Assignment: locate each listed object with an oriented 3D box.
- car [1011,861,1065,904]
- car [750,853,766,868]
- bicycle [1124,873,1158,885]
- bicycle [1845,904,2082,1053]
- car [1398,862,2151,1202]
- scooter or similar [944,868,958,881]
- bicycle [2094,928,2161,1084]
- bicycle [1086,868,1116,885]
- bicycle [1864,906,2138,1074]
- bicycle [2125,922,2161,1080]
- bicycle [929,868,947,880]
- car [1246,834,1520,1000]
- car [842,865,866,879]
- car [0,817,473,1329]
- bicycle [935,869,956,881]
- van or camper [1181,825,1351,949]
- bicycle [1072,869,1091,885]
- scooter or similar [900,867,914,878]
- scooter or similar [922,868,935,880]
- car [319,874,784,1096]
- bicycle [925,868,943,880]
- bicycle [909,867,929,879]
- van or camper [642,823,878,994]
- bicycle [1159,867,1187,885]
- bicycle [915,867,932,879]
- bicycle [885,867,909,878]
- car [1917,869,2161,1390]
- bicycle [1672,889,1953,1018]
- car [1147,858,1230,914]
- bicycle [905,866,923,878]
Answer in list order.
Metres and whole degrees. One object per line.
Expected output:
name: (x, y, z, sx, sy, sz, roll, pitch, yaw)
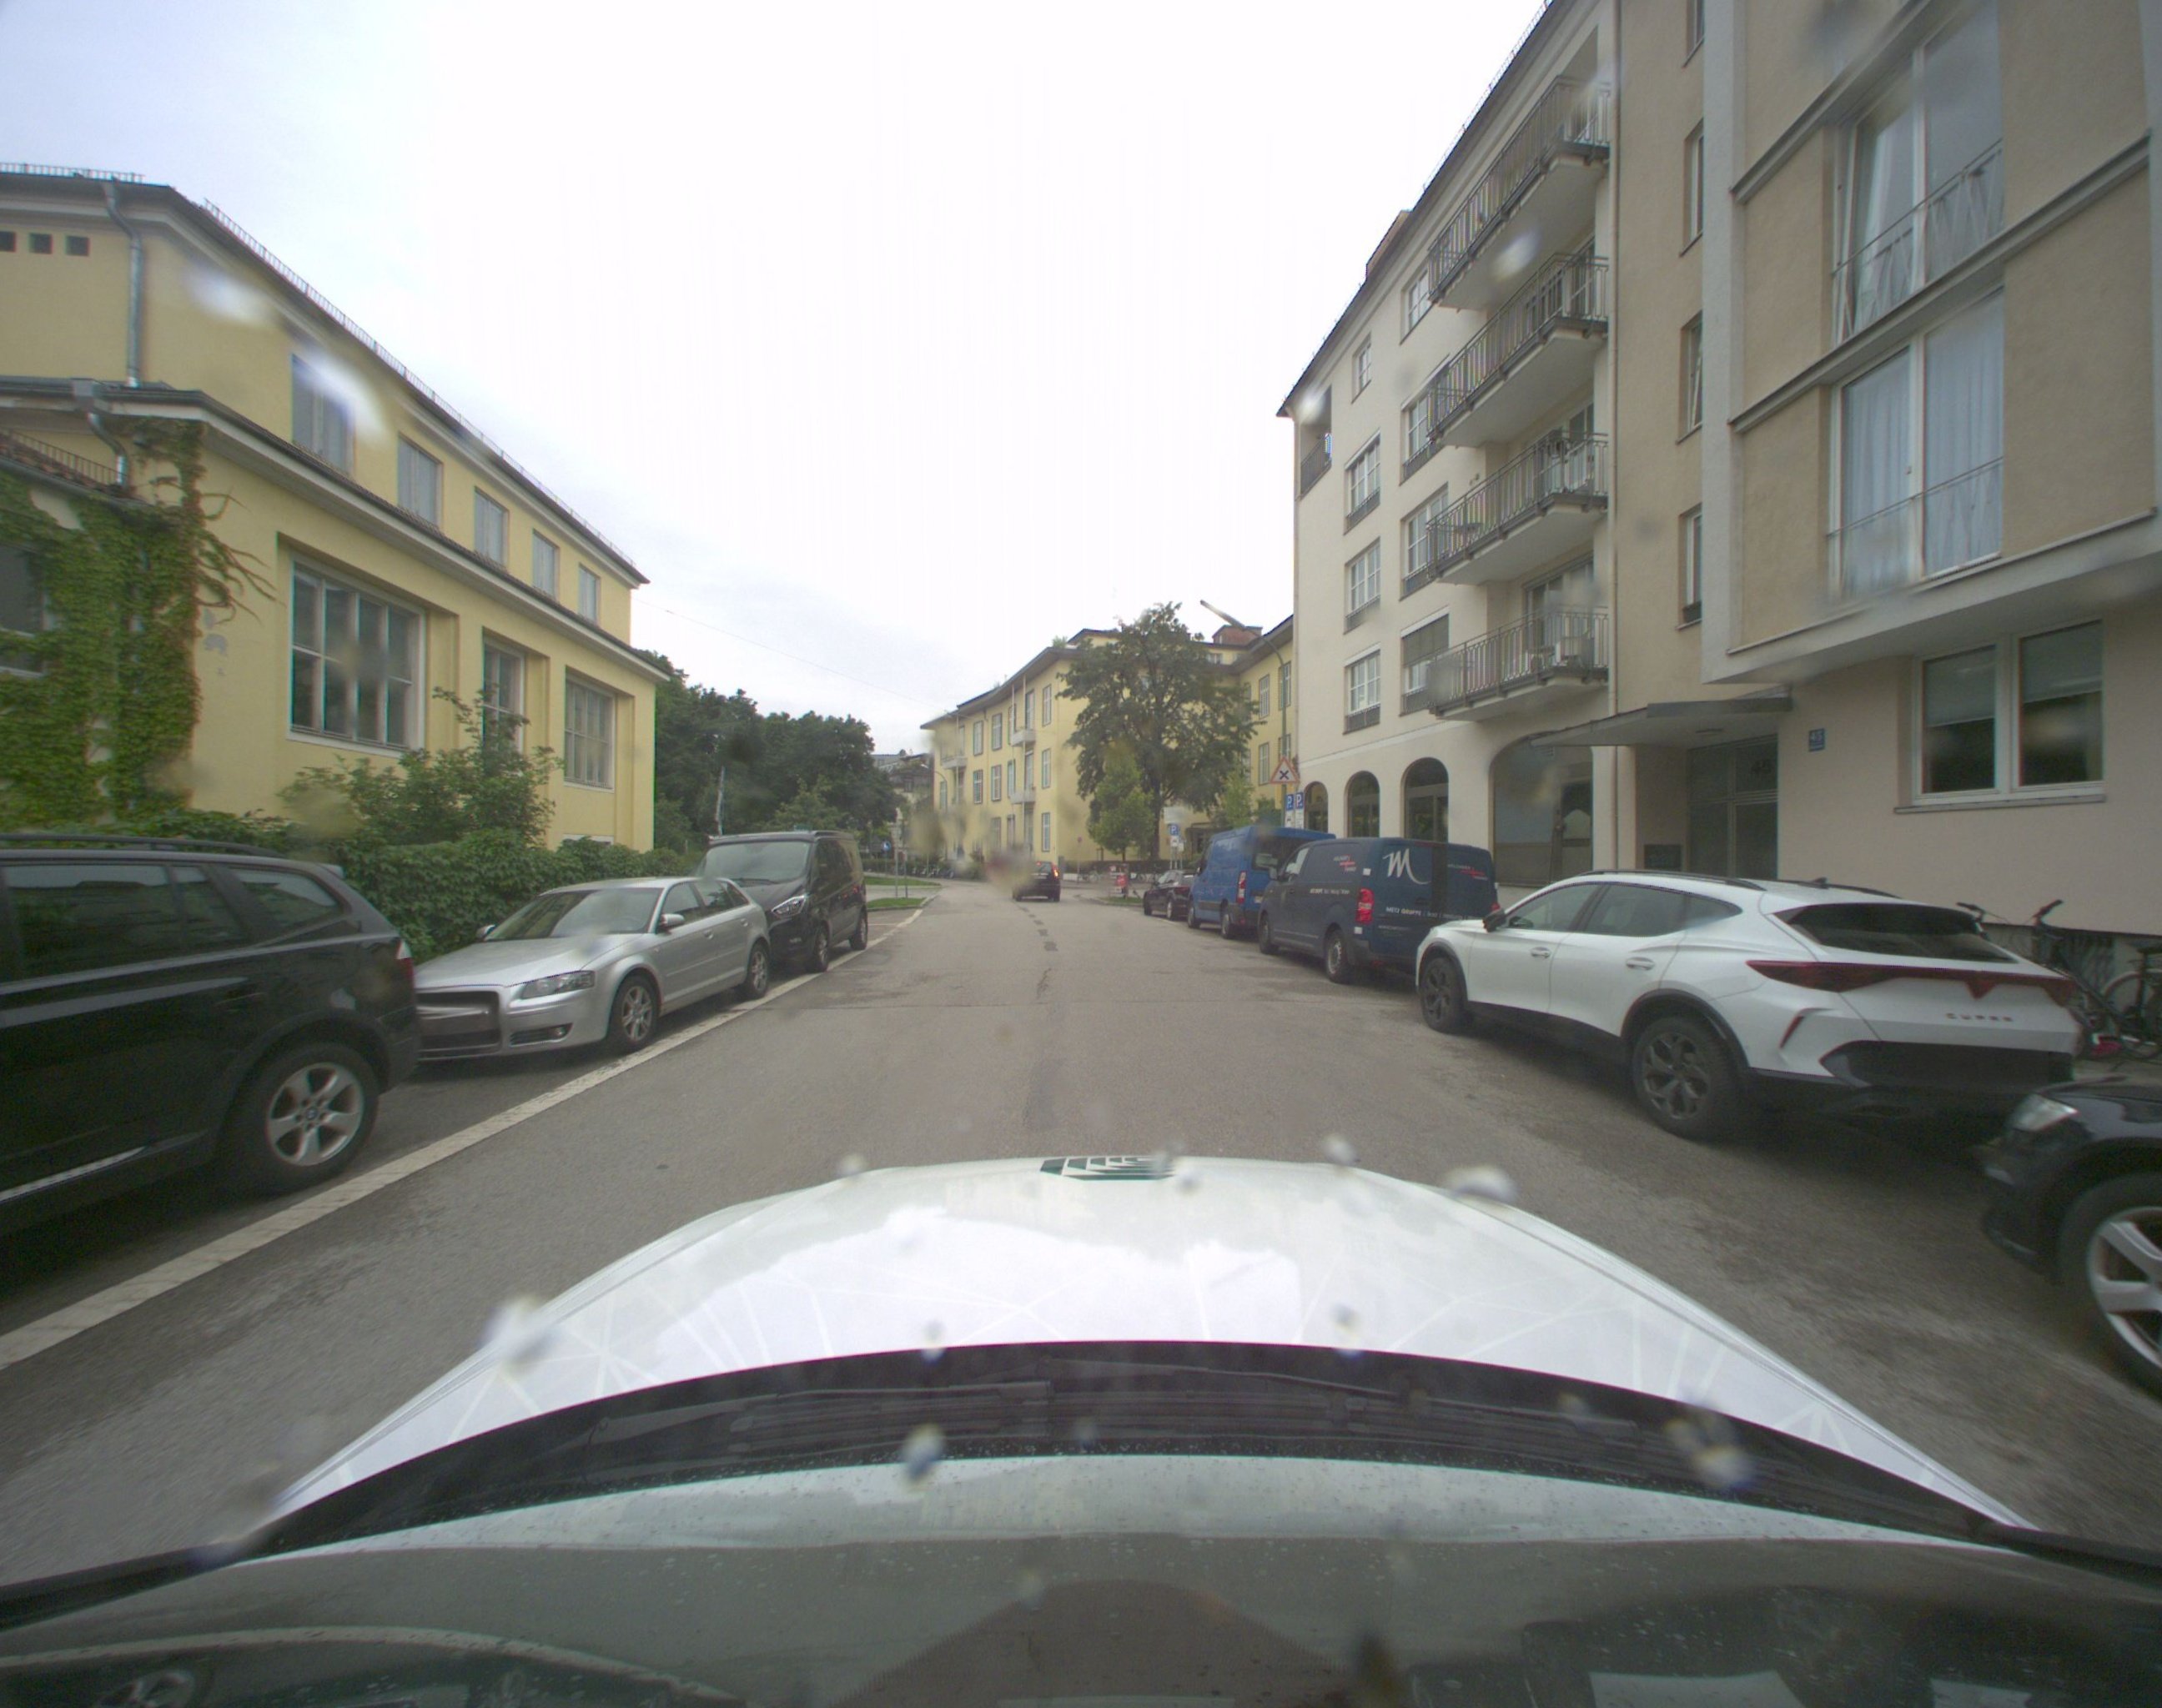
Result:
car: (-1.900, 1.165, 34.561, 1.993, 1.694, 4.369, 0, -1, -7)
car: (-56.636, 1.105, 142.815, 1.888, 2.568, 4.883, 1, -1, -31)
bicycle: (3.970, 1.653, 54.154, 2.194, 0.779, 0.612, 0, -1, 14)
bicycle: (7.975, 1.067, 7.413, 0.536, 1.133, 1.394, -1, 0, -34)
car: (4.222, 0.894, 6.061, 1.736, 1.537, 4.267, 4, -1, -4)
scooter or similar: (-11.339, 1.778, 71.086, 0.491, 1.109, 1.417, -1, 0, 22)
bicycle: (7.545, 1.050, 5.331, 0.420, 1.024, 1.201, -1, -1, 8)
bicycle: (1.353, 1.496, 55.418, 2.189, 1.117, 0.614, 0, -1, 43)
bicycle: (7.514, 1.036, 6.706, 0.722, 1.133, 1.414, 1, -1, -35)
bicycle: (8.182, 1.085, 5.460, 0.531, 1.133, 1.408, -1, 0, -2)
bicycle: (-13.022, 1.828, 74.433, 0.570, 1.085, 1.945, -1, 0, 26)
car: (4.049, 0.760, 11.993, 1.959, 1.816, 4.931, 4, -1, -2)
car: (-26.877, 2.084, 96.296, 1.874, 1.634, 4.243, 0, -1, -29)
car: (-4.464, 0.748, 2.649, 1.614, 1.730, 4.424, -1, -1, 0)
bicycle: (-12.022, 1.874, 72.318, 1.836, 1.005, 0.571, -1, 0, -33)
van or camper: (3.768, 0.635, 17.774, 2.056, 2.231, 5.429, 2, -1, -4)
bicycle: (0.026, 1.613, 57.541, 0.611, 1.072, 2.201, 0, 0, -22)
scooter or similar: (-17.508, 1.828, 81.872, 1.406, 1.088, 0.594, -1, 0, -13)
scooter or similar: (-14.054, 1.827, 75.263, 0.491, 1.088, 1.417, -1, 0, 22)
car: (-4.394, 0.953, 7.649, 1.614, 1.378, 4.071, -3, -1, 0)
bicycle: (-13.559, 1.850, 74.948, 0.570, 1.085, 1.945, -1, 0, 26)
bicycle: (-15.154, 1.785, 76.240, 0.690, 1.085, 2.350, -1, 0, 19)
van or camper: (-4.618, 0.697, 12.622, 1.957, 2.065, 4.747, -2, 0, -4)
bicycle: (6.126, 1.454, 54.239, 1.730, 1.150, 0.610, 0, -1, -2)
bicycle: (-14.586, 1.777, 75.561, 0.632, 1.085, 1.995, -1, 0, 19)
bicycle: (-18.825, 1.848, 83.436, 2.349, 1.085, 0.685, -1, 0, -36)
car: (3.968, 0.830, 0.815, 1.732, 1.499, 4.497, 3, 0, 2)
bicycle: (7.944, 1.021, 9.058, 1.143, 1.186, 2.206, 0, -1, -1)
car: (3.054, 0.882, 23.879, 1.700, 1.518, 3.953, 1, -1, -4)
bicycle: (-15.984, 1.720, 77.942, 0.756, 1.085, 2.151, -1, 0, 19)
